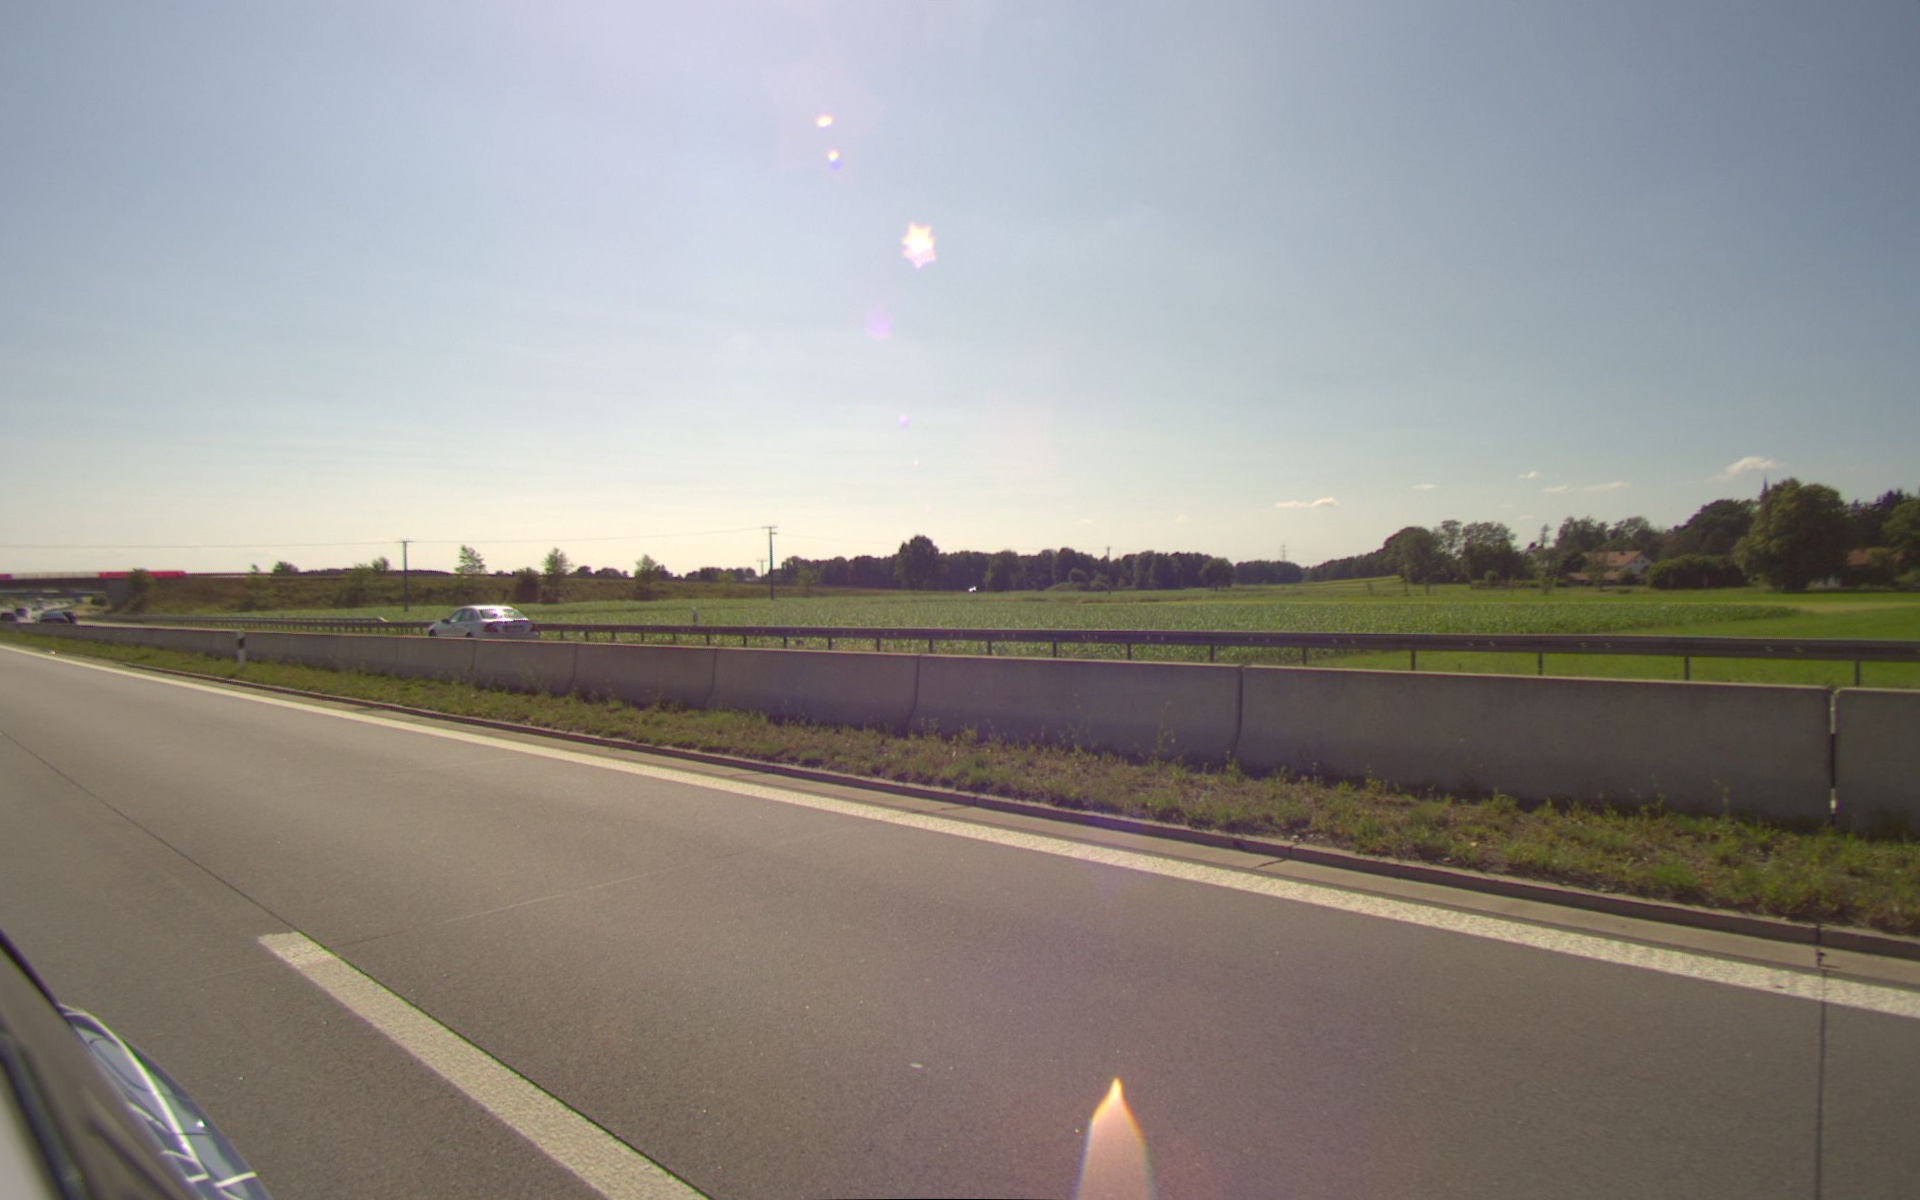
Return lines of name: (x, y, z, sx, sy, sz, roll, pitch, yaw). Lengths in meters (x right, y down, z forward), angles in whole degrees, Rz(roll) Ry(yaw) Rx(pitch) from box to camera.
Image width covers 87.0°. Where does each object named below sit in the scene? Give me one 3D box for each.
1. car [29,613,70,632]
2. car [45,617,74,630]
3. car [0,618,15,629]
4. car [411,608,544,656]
car: (-69.069, 1.740, 76.742, 4.657, 1.375, 1.804, -2, -1, 41)
car: (-92.180, 2.413, 103.604, 4.664, 1.375, 1.803, -2, -1, 43)
car: (-117.489, 2.867, 124.320, 5.199, 1.375, 1.802, -2, -1, 45)
car: (-15.093, 0.984, 31.508, 5.292, 1.375, 1.804, -2, -1, 41)
